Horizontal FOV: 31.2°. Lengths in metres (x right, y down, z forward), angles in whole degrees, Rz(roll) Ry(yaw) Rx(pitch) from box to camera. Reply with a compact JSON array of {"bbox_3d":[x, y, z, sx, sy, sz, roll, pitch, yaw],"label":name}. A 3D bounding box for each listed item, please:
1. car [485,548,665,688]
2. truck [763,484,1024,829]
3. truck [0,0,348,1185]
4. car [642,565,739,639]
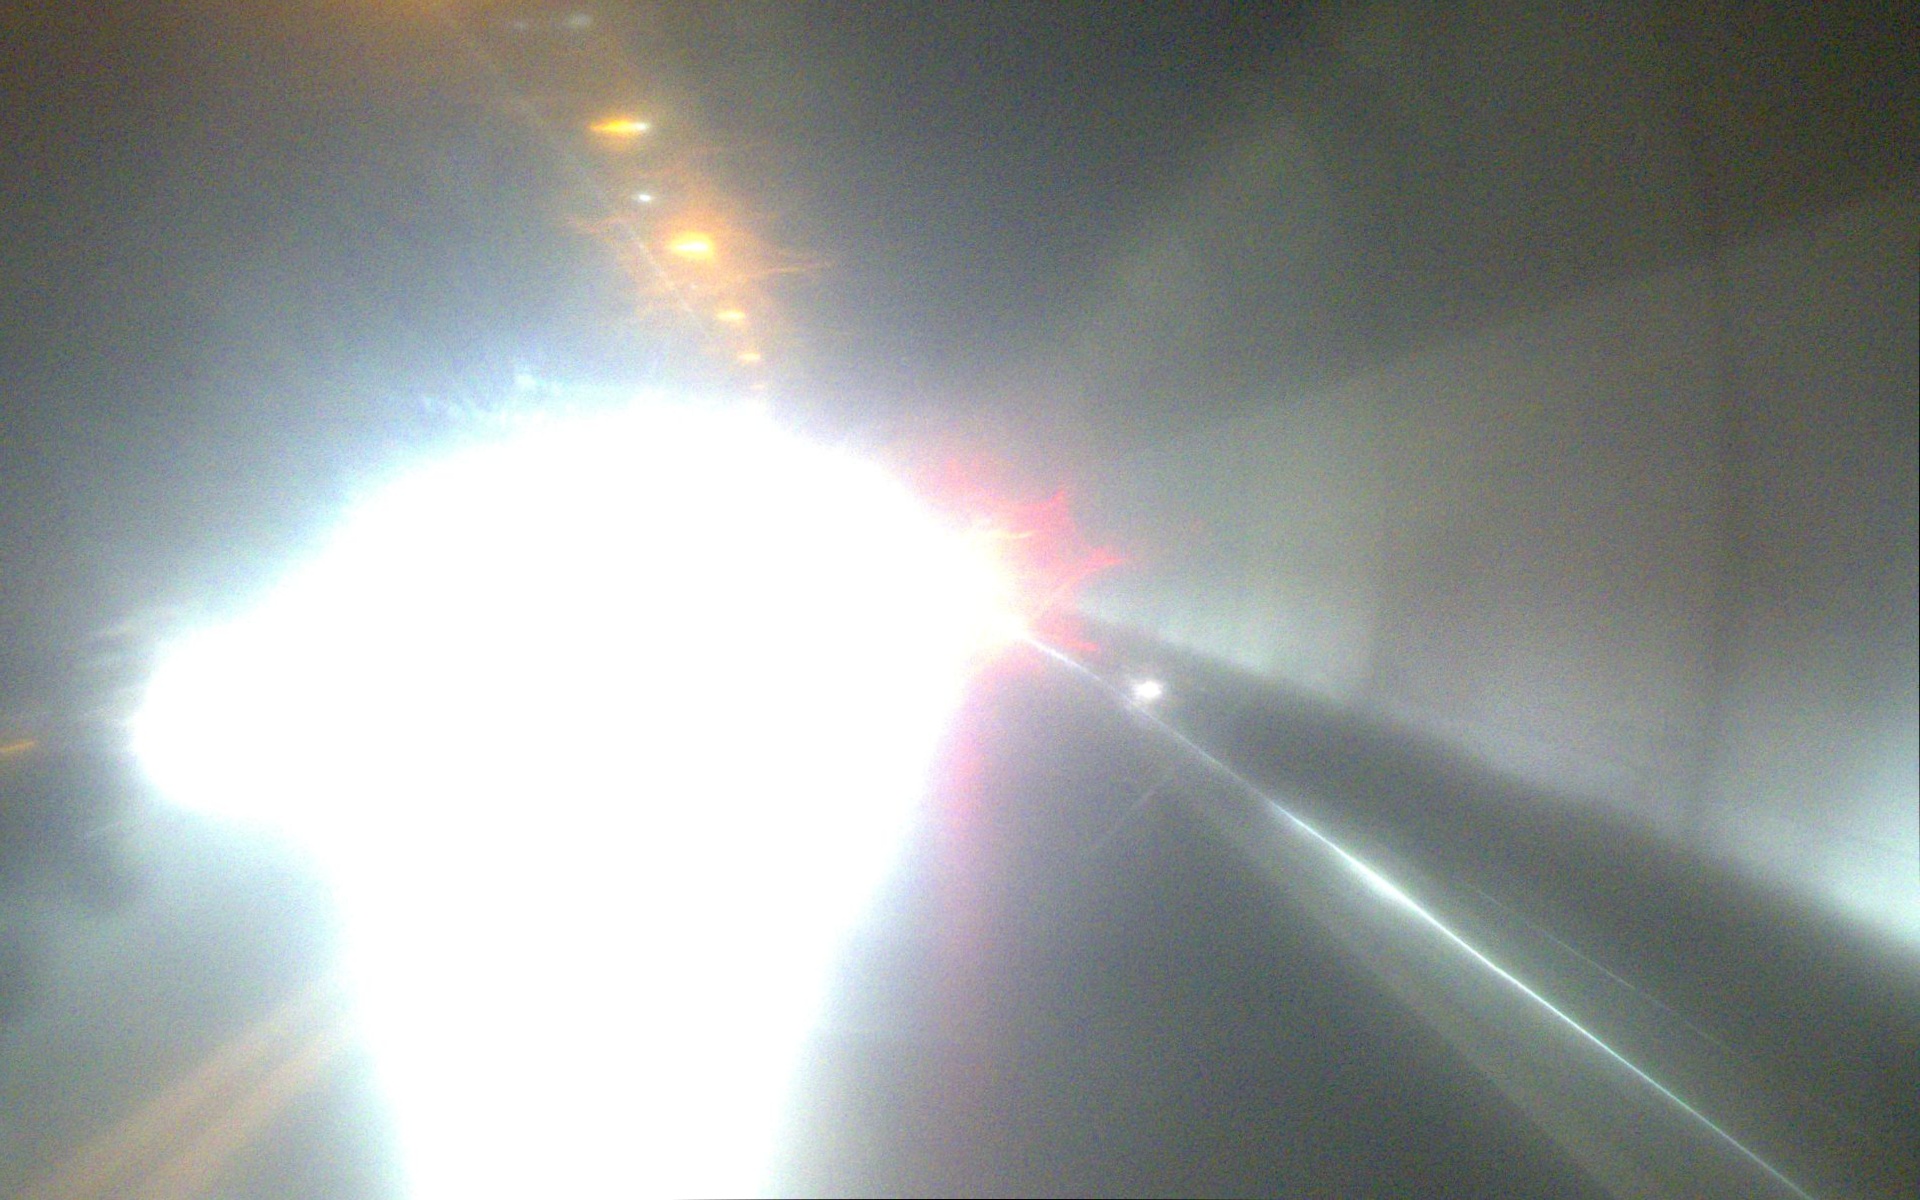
[{"bbox_3d":[-4.385,0.166,39.638,1.660,1.485,3.963,-2,1,-1],"label":"car"},{"bbox_3d":[-0.628,0.435,33.714,2.262,3.000,7.415,0,1,-1],"label":"truck"},{"bbox_3d":[-3.584,-0.689,5.261,2.614,4.193,15.143,-1,0,0],"label":"truck"},{"bbox_3d":[-5.863,0.028,75.128,1.813,1.477,4.201,-2,1,-1],"label":"car"}]
